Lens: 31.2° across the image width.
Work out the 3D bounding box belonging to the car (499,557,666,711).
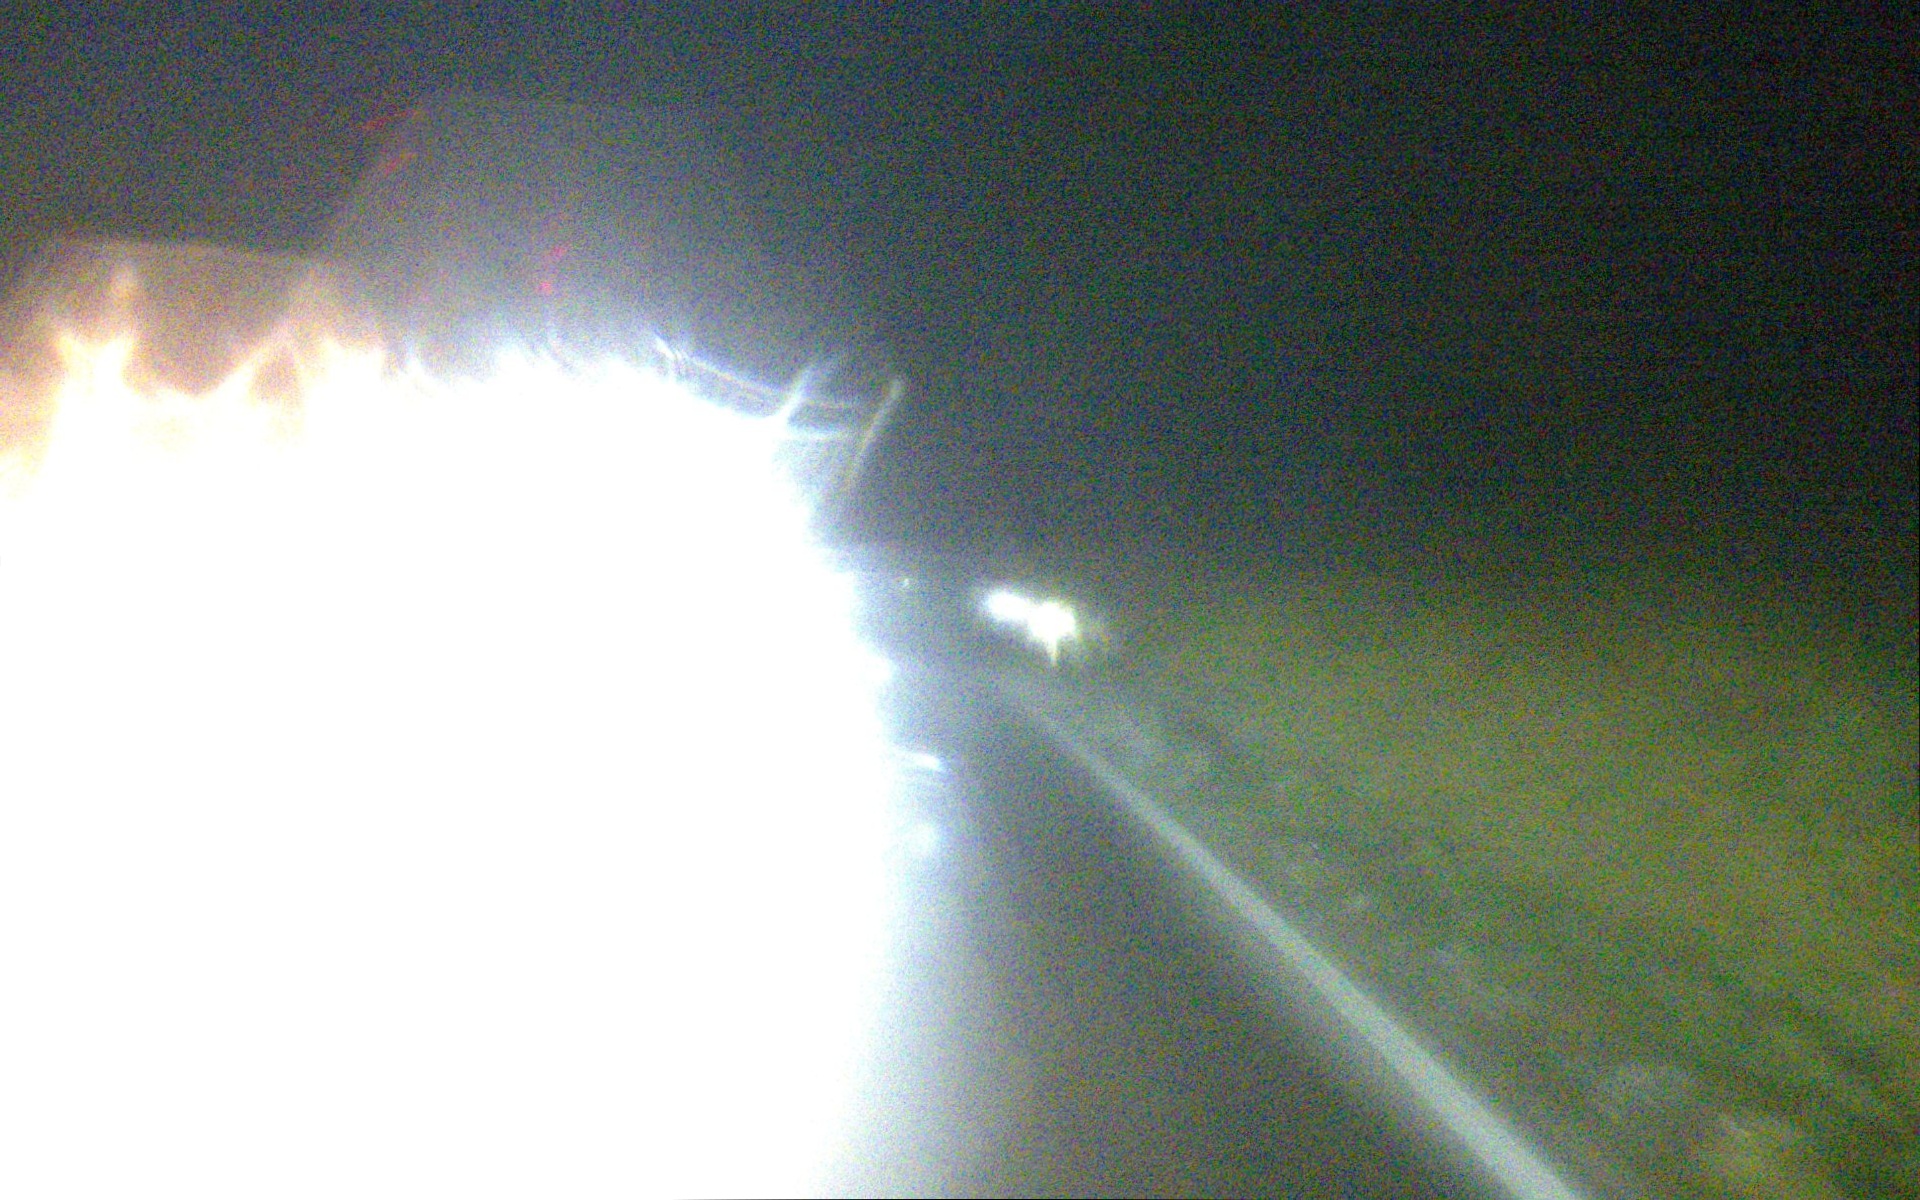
[{"bbox_3d":[-5.349,0.438,48.313,1.993,2.006,4.001,0,2,-11],"label":"car"}]

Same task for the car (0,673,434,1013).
[{"bbox_3d":[-4.374,1.330,20.331,1.926,1.569,4.348,1,2,-1],"label":"car"}]
